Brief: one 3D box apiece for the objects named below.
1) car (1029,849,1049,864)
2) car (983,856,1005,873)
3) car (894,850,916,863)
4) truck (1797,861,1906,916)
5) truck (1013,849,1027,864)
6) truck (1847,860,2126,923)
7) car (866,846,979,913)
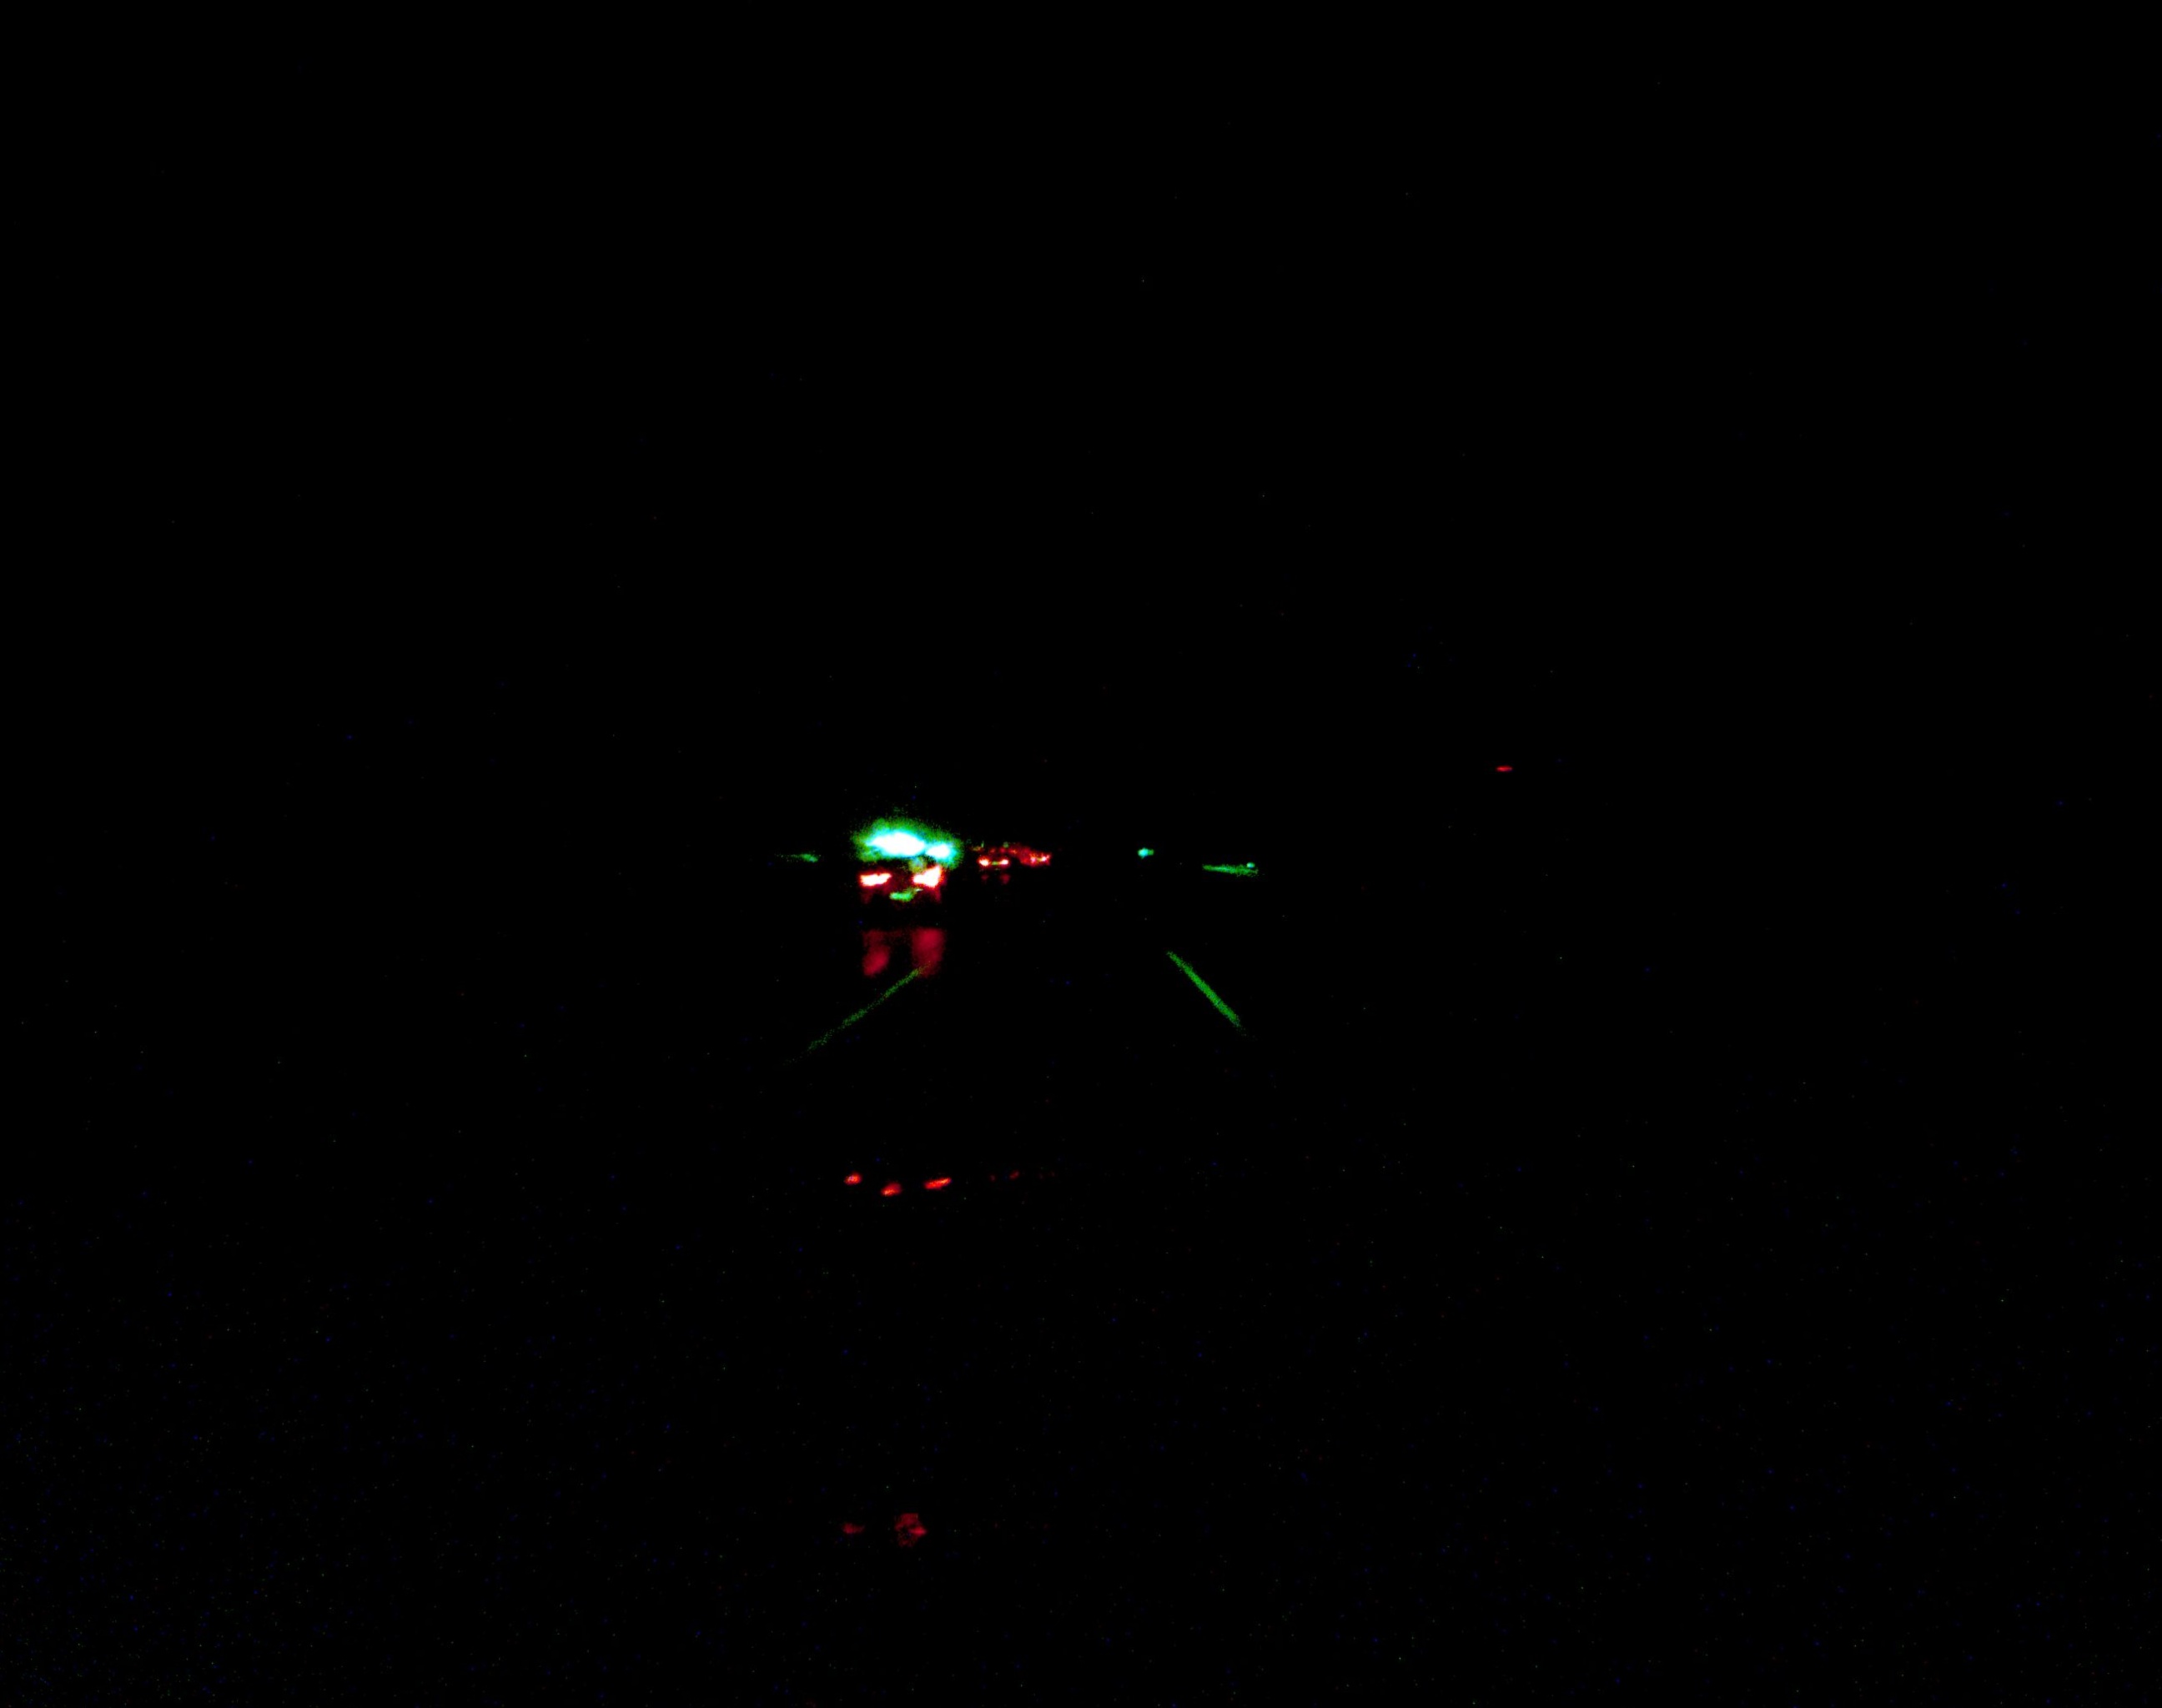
[{"bbox_3d":[-4.483,0.263,87.697,1.795,1.487,4.001,-1,0,1],"label":"car"},{"bbox_3d":[-6.712,0.829,63.044,1.660,1.236,3.753,0,-1,-6],"label":"car"},{"bbox_3d":[-21.122,0.325,97.788,1.989,1.492,3.996,0,0,-3],"label":"car"},{"bbox_3d":[62.408,2.697,66.054,2.781,4.223,6.122,1,-1,-40],"label":"truck"},{"bbox_3d":[-12.900,0.522,171.962,1.996,3.043,6.434,0,-1,-13],"label":"truck"},{"bbox_3d":[66.777,2.607,60.801,2.781,4.223,13.664,1,-1,-40],"label":"truck"},{"bbox_3d":[-4.182,0.632,22.291,1.851,1.541,4.754,3,0,3],"label":"car"}]
